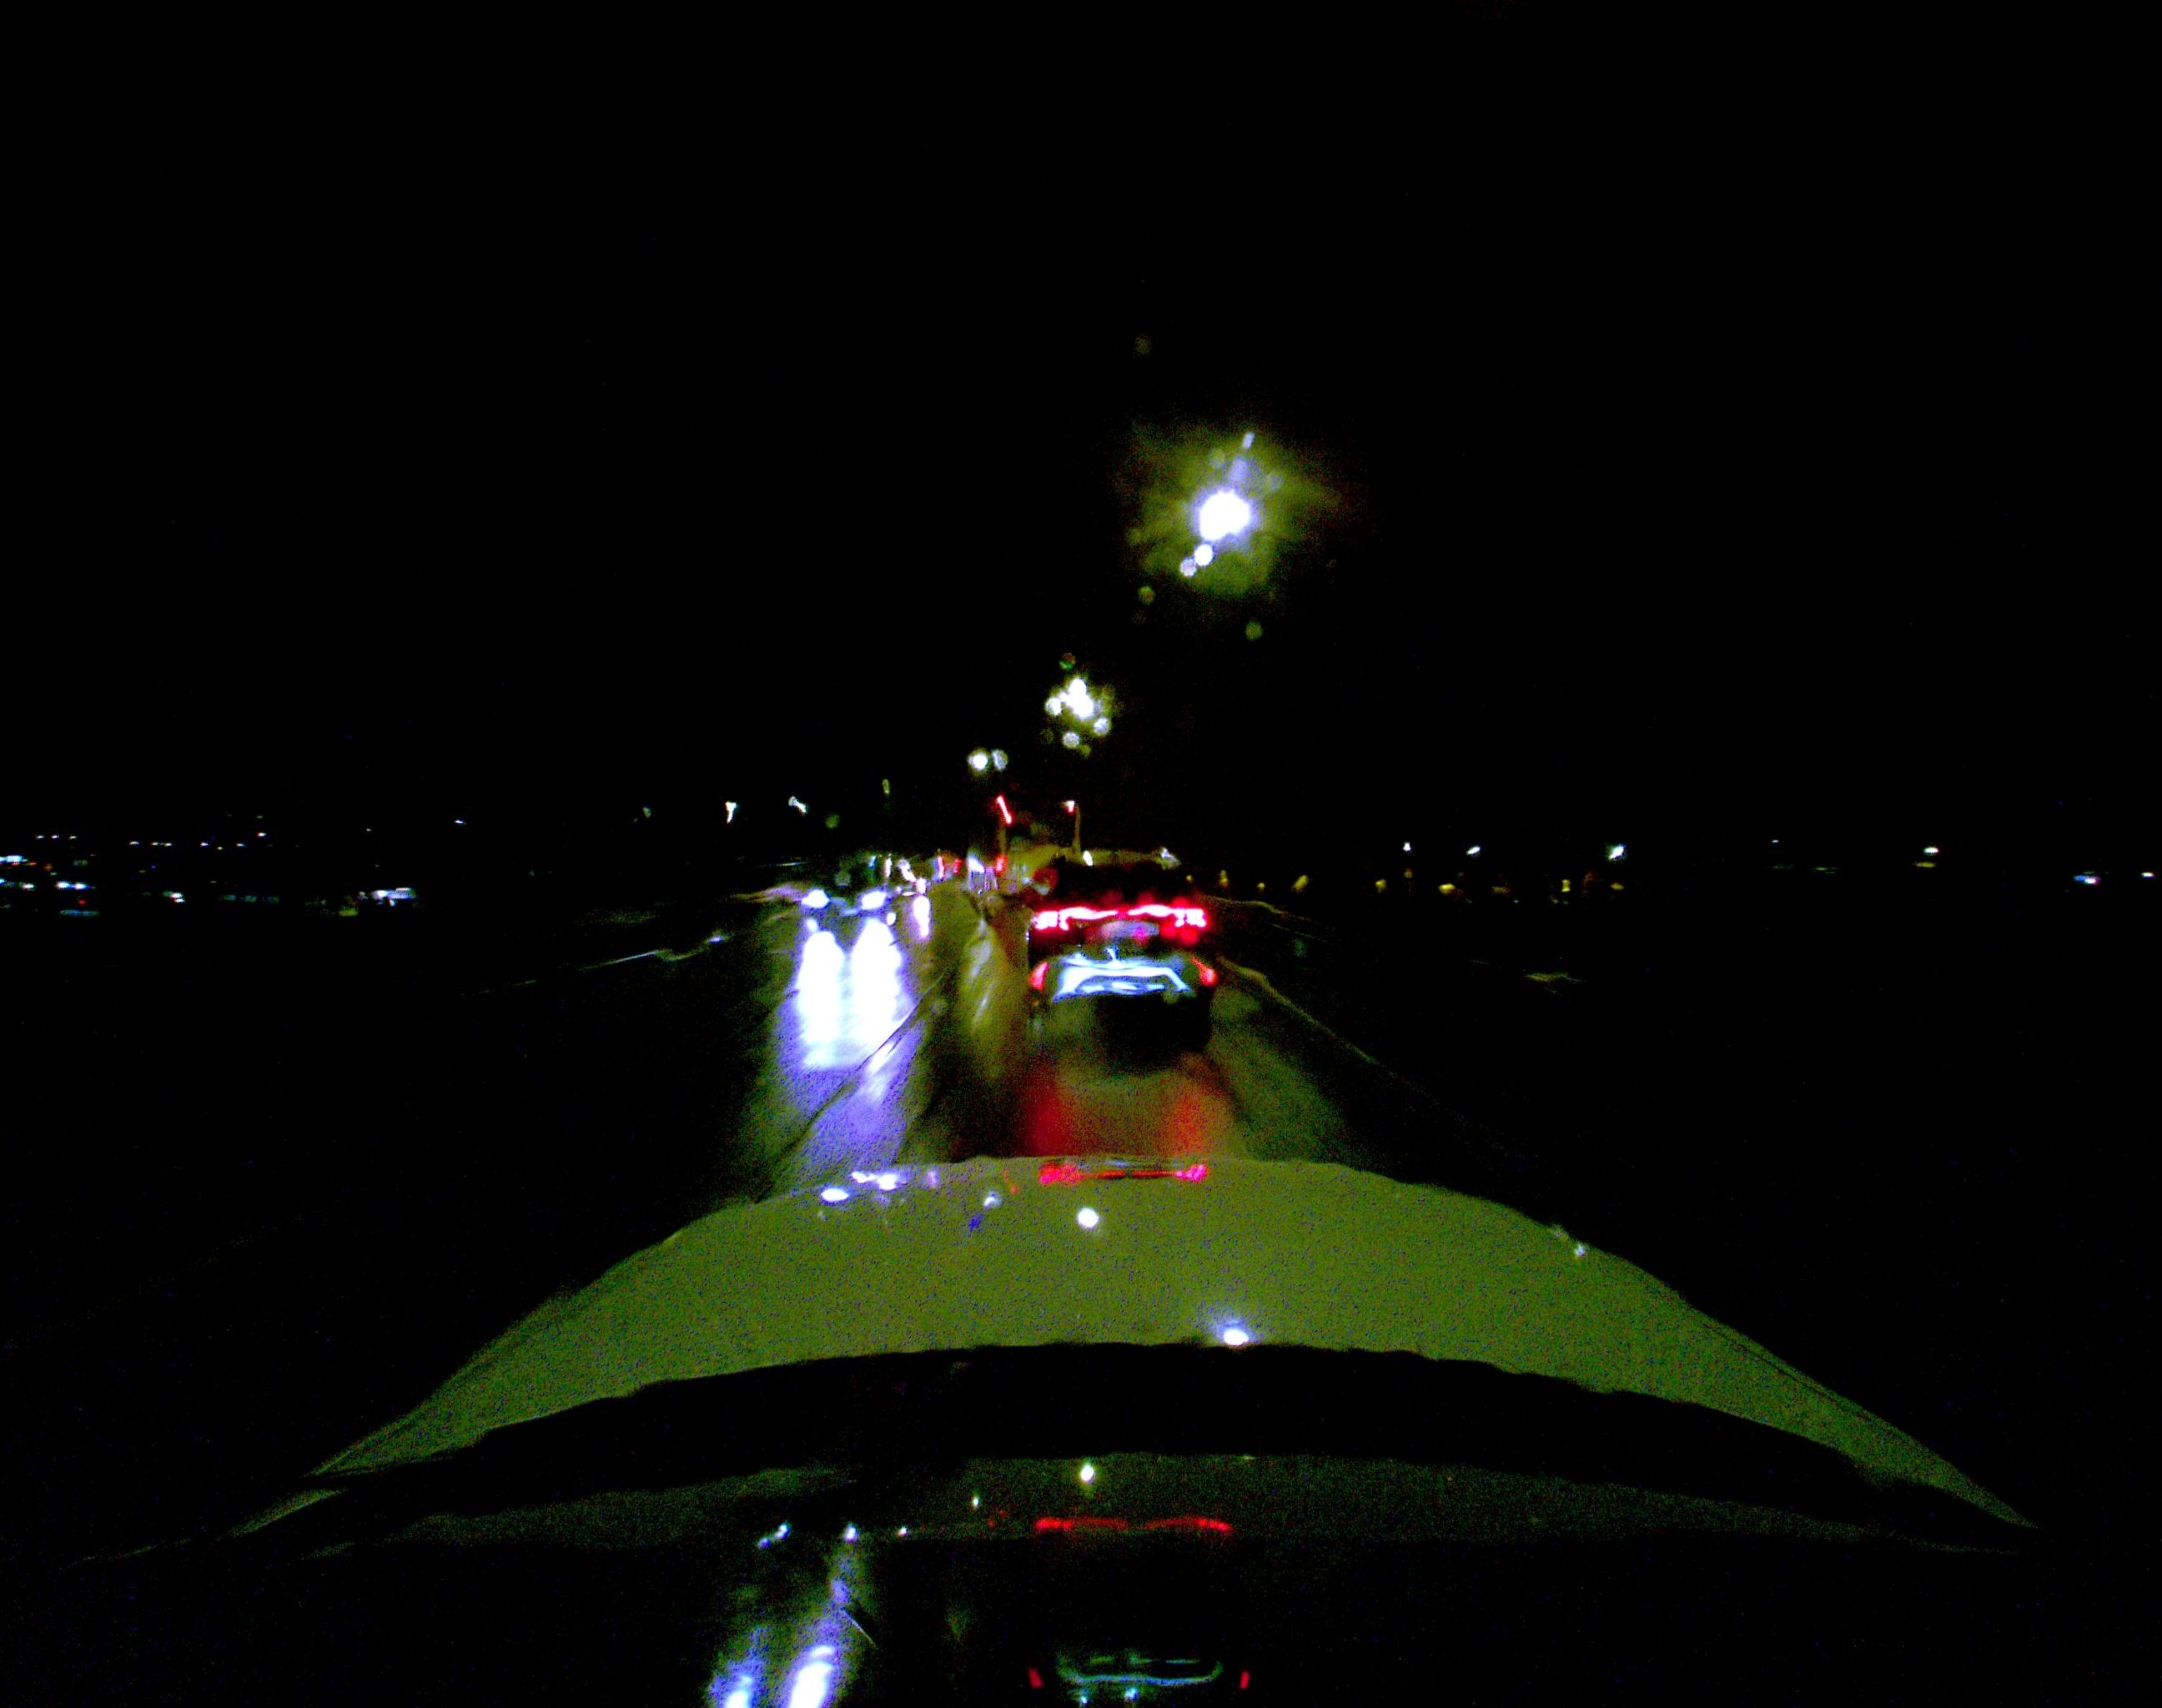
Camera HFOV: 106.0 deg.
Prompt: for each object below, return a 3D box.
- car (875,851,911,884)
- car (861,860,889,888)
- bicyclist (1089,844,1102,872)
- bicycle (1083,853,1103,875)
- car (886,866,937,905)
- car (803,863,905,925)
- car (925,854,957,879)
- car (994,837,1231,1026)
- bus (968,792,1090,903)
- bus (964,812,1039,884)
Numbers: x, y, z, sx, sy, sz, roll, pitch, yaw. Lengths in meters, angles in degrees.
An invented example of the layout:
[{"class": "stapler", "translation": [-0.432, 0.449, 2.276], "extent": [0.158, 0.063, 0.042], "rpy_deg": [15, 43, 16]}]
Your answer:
[{"class": "car", "translation": [-11.633, 0.796, 50.284], "extent": [1.758, 1.861, 3.976], "rpy_deg": [-3, 1, -17]}, {"class": "car", "translation": [-15.629, 1.466, 61.621], "extent": [1.672, 2.013, 3.974], "rpy_deg": [-1, 0, -19]}, {"class": "bicyclist", "translation": [0.673, 0.201, 39.179], "extent": [0.453, 1.349, 0.761], "rpy_deg": [0, 0, -13]}, {"class": "bicycle", "translation": [0.566, 0.487, 39.618], "extent": [0.485, 1.034, 2.162], "rpy_deg": [0, -1, -13]}, {"class": "car", "translation": [-7.121, 1.292, 34.461], "extent": [1.814, 1.404, 4.037], "rpy_deg": [-2, 0, -8]}, {"class": "car", "translation": [-5.588, 0.918, 20.539], "extent": [1.680, 1.391, 4.442], "rpy_deg": [0, -1, -5]}, {"class": "car", "translation": [-10.159, 0.896, 59.071], "extent": [1.641, 1.655, 3.686], "rpy_deg": [-4, -1, -19]}, {"class": "car", "translation": [0.084, 0.672, 8.957], "extent": [1.855, 1.586, 3.987], "rpy_deg": [1, -1, -9]}, {"class": "bus", "translation": [-2.343, -0.231, 29.618], "extent": [3.083, 3.132, 12.654], "rpy_deg": [-1, 0, -10]}, {"class": "bus", "translation": [-4.067, -0.284, 39.848], "extent": [3.049, 3.131, 8.051], "rpy_deg": [1, 1, -10]}]
